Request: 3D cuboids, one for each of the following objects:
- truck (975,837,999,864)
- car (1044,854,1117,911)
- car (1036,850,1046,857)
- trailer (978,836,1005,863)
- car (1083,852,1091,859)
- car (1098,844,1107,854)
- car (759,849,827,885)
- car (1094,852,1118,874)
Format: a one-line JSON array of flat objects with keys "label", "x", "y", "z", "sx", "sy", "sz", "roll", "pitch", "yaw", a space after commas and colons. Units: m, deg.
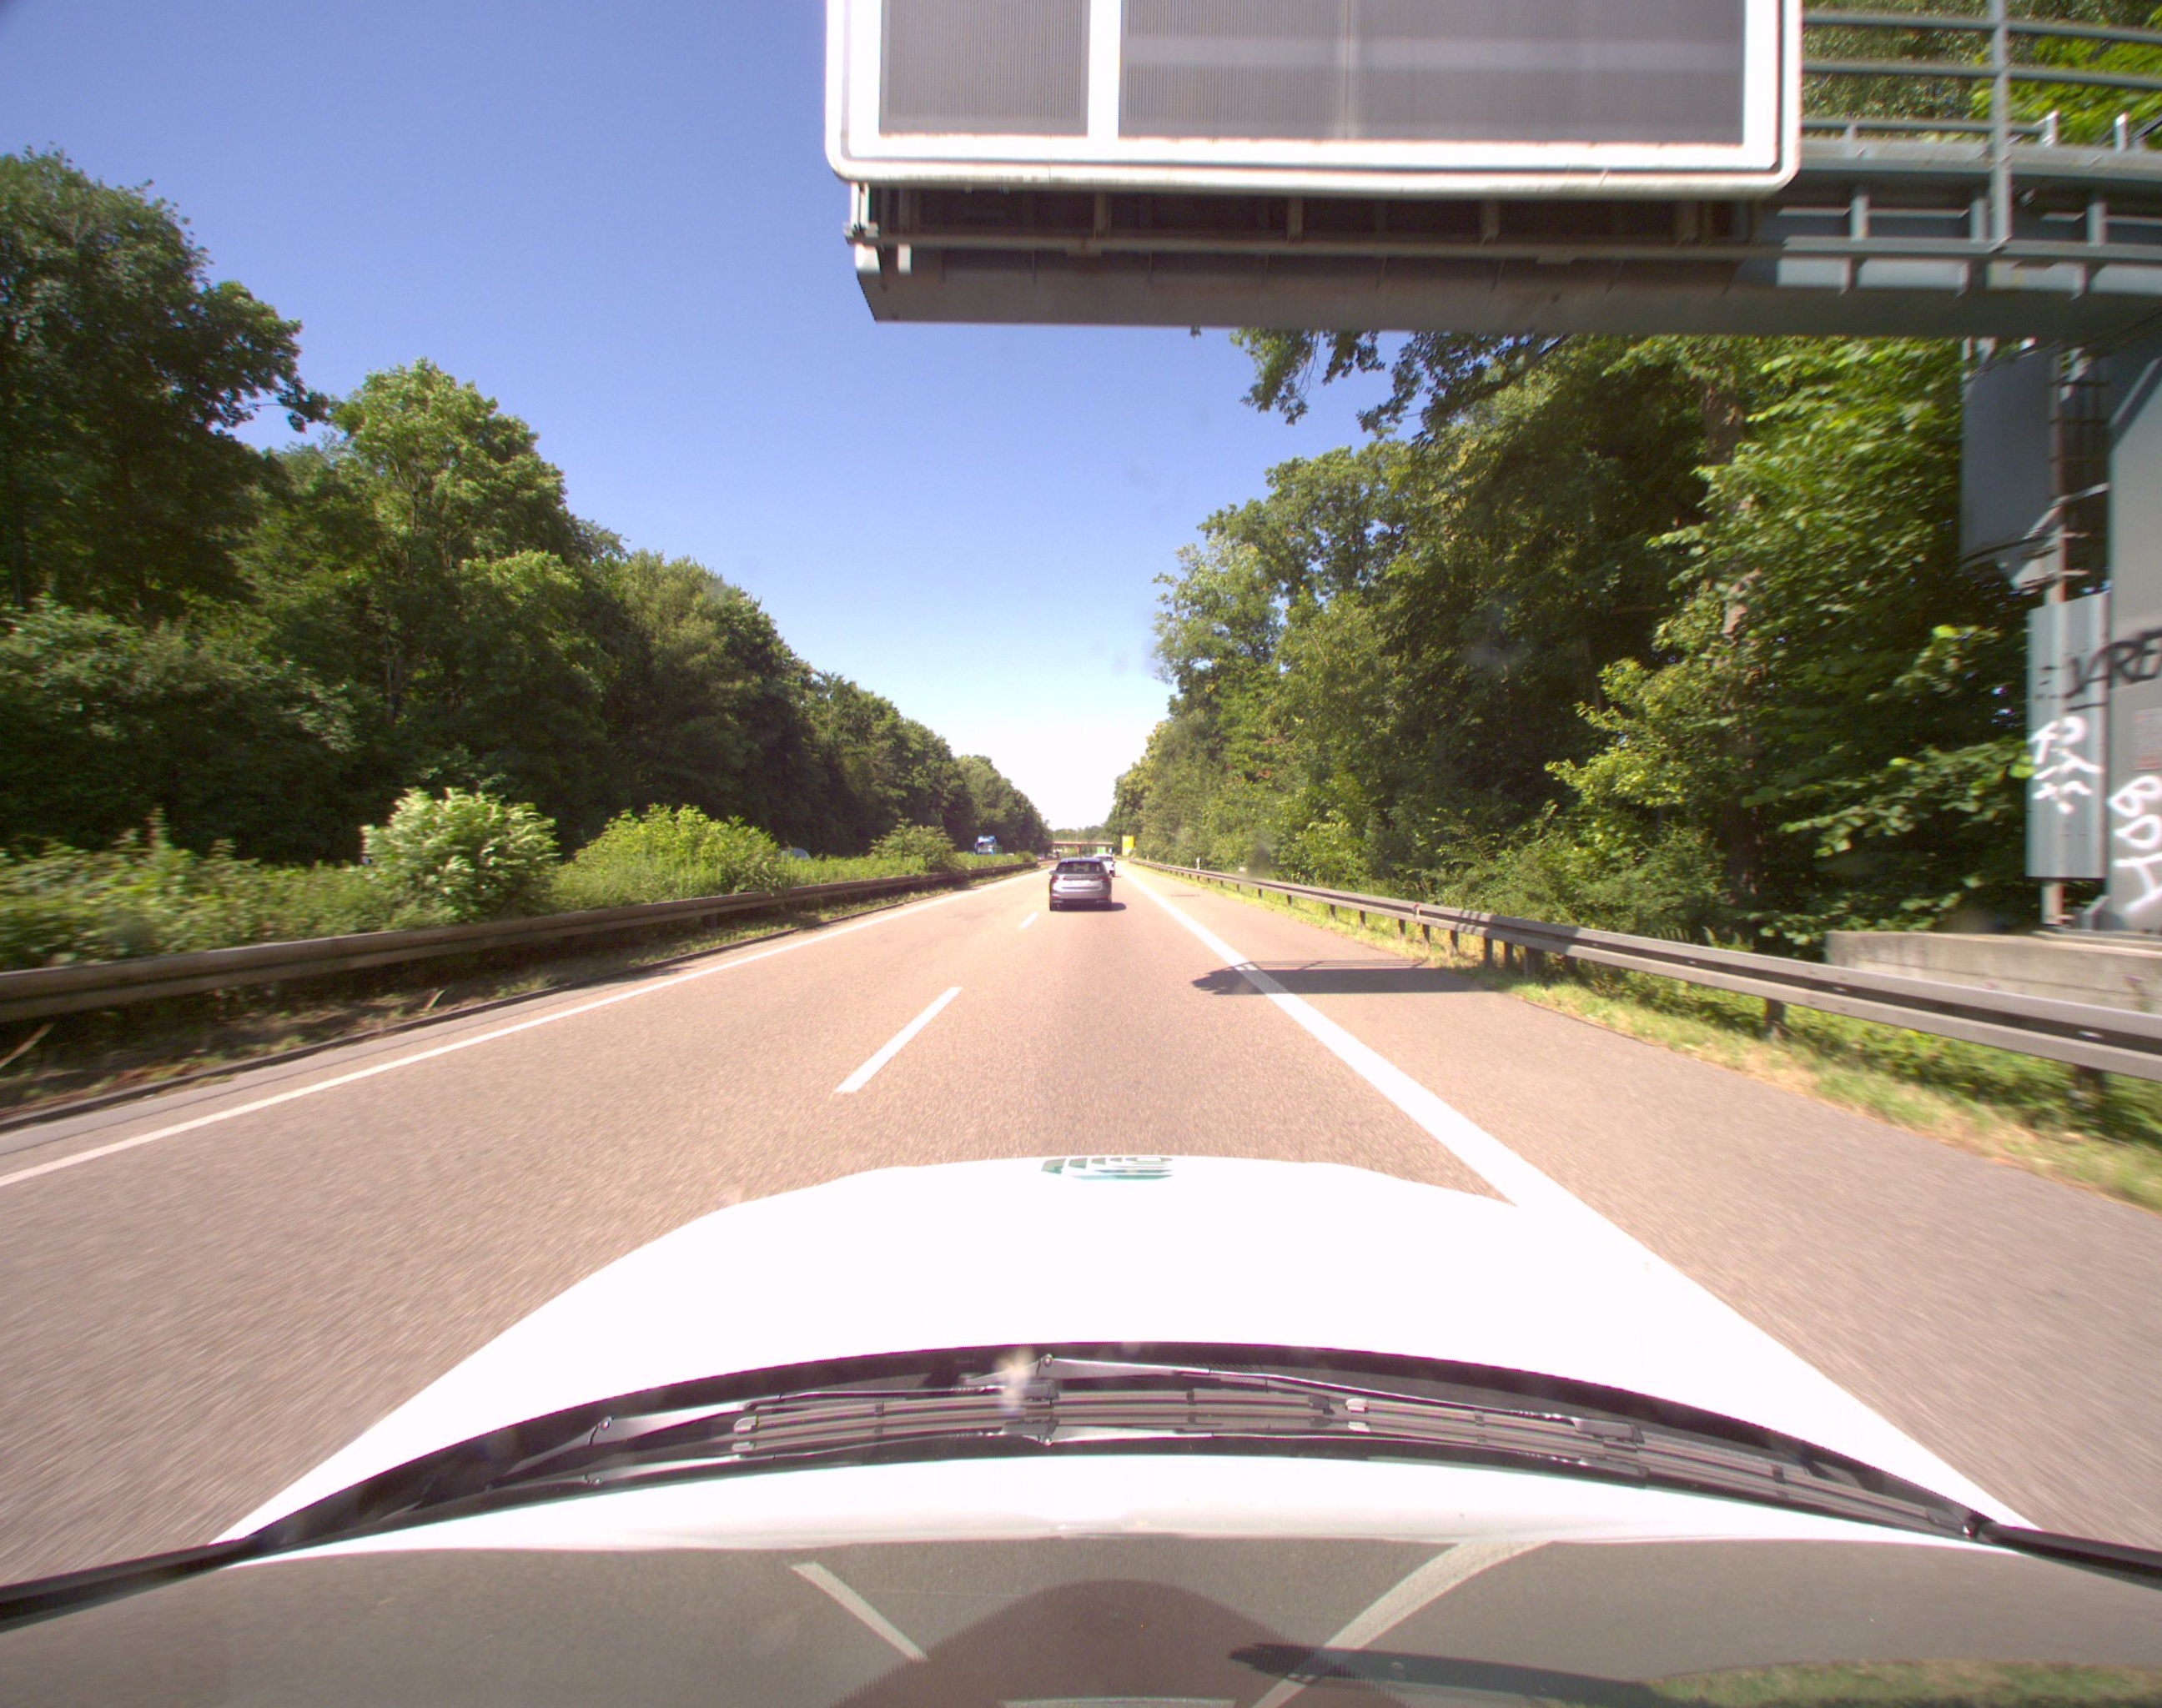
[{"label": "truck", "x": -12.933, "y": -0.488, "z": 112.227, "sx": 2.636, "sy": 3.706, "sz": 4.002, "roll": 0, "pitch": 0, "yaw": 2}, {"label": "car", "x": 0.077, "y": 0.736, "z": 22.873, "sx": 1.832, "sy": 1.472, "sz": 3.626, "roll": 0, "pitch": 0, "yaw": 3}, {"label": "car", "x": -8.388, "y": -0.091, "z": 169.775, "sx": 1.665, "sy": 1.473, "sz": 3.626, "roll": 0, "pitch": 0, "yaw": 3}, {"label": "trailer", "x": -12.812, "y": -0.631, "z": 117.029, "sx": 2.678, "sy": 3.712, "sz": 7.987, "roll": 0, "pitch": 0, "yaw": 2}, {"label": "car", "x": 1.660, "y": 0.364, "z": 222.187, "sx": 1.986, "sy": 2.014, "sz": 4.001, "roll": 0, "pitch": 0, "yaw": 1}, {"label": "car", "x": 6.341, "y": -1.482, "z": 243.914, "sx": 2.739, "sy": 2.654, "sz": 4.001, "roll": 0, "pitch": 0, "yaw": 1}, {"label": "car", "x": -14.695, "y": 0.632, "z": 41.766, "sx": 1.687, "sy": 1.662, "sz": 4.714, "roll": -2, "pitch": 1, "yaw": 1}, {"label": "car", "x": 1.742, "y": 0.566, "z": 55.849, "sx": 1.516, "sy": 1.446, "sz": 3.343, "roll": 0, "pitch": 0, "yaw": 3}]
